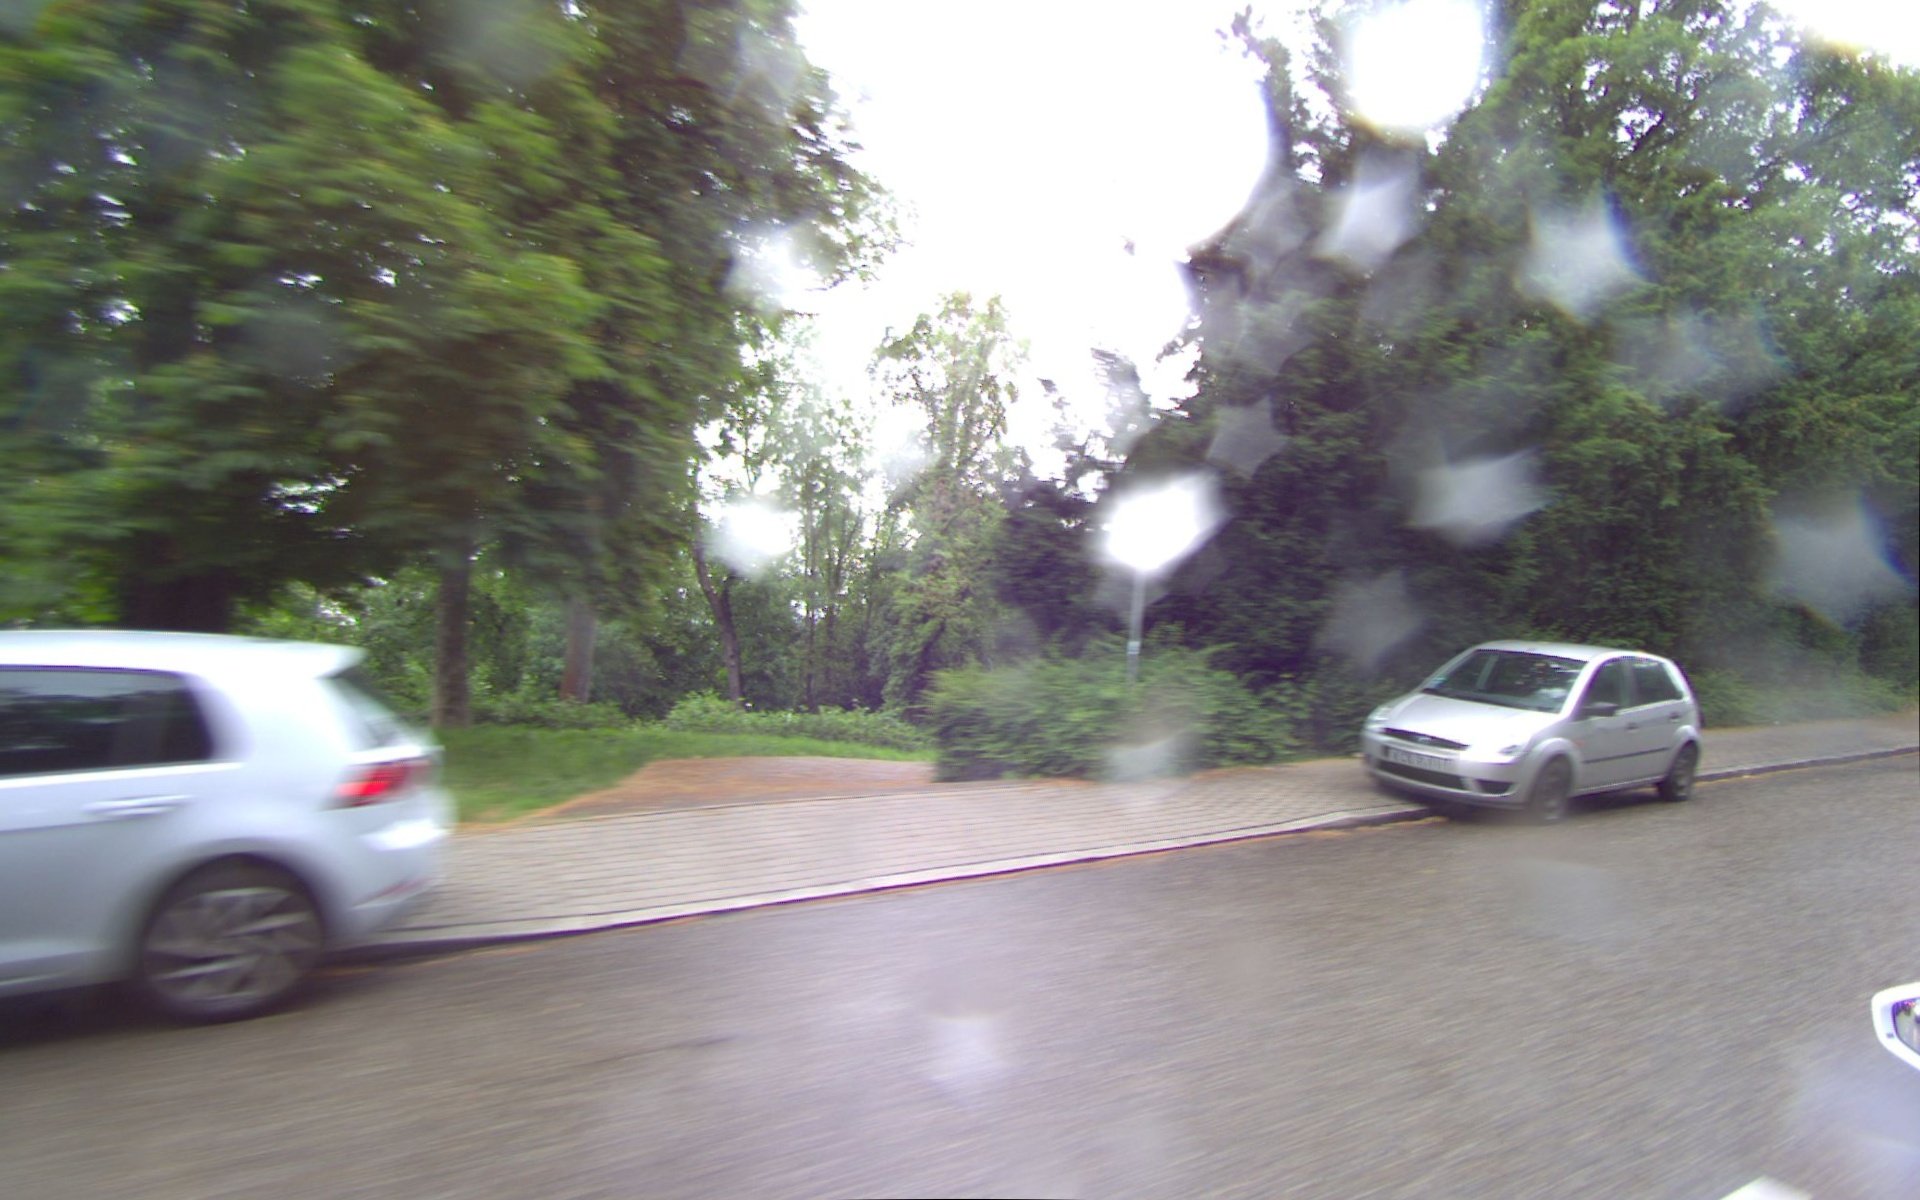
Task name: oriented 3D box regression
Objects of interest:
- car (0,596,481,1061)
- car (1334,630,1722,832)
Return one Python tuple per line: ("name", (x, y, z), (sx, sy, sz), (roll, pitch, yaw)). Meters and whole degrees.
("car", (-4.339, 0.839, 4.085), (4.189, 1.632, 1.878), (1, -4, -30))
("car", (5.548, 1.101, 9.688), (3.886, 1.519, 1.616), (1, 1, -33))
